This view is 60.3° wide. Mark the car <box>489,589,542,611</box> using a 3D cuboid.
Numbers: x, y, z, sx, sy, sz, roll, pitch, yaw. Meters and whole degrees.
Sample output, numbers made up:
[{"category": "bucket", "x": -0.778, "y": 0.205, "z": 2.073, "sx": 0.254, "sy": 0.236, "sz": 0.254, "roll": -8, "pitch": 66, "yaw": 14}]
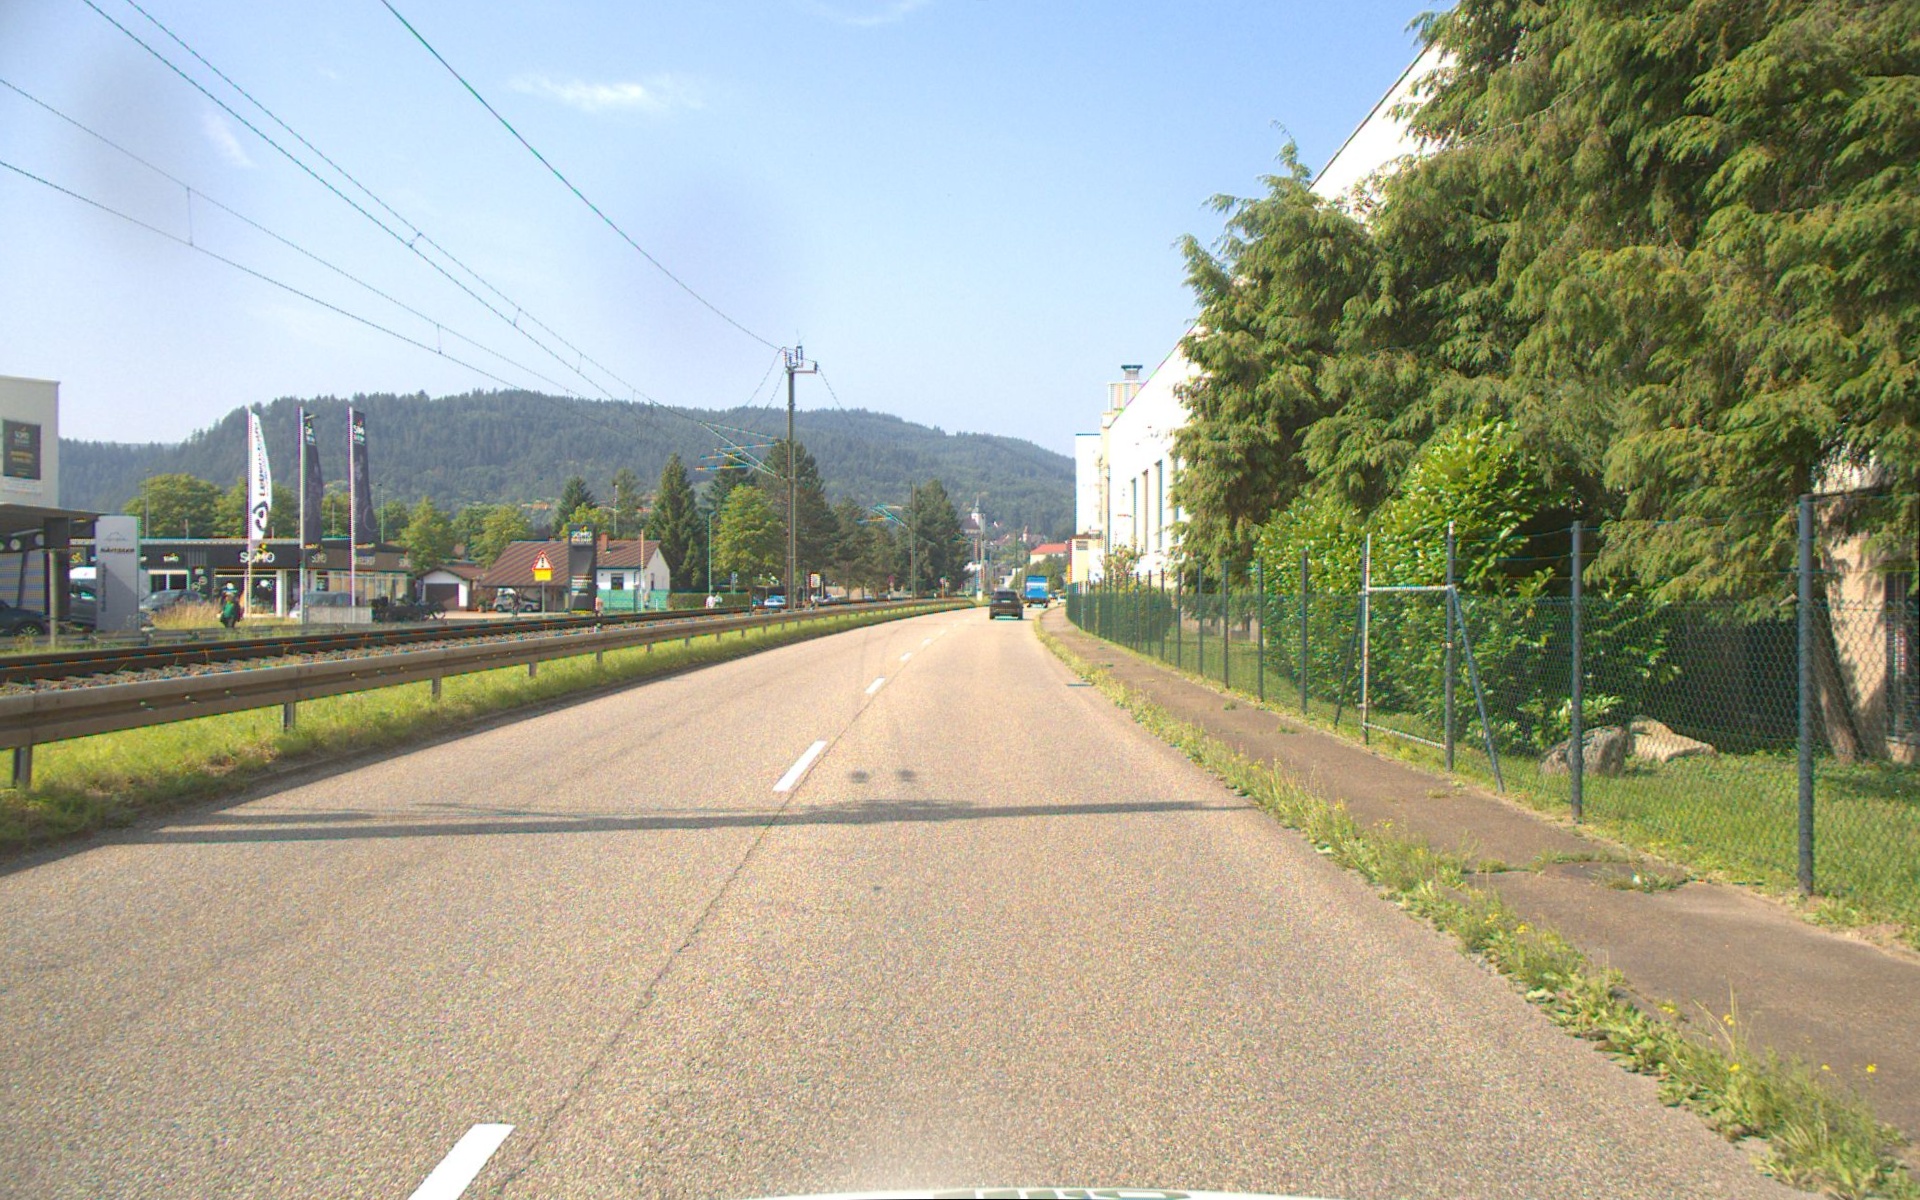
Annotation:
[{"category": "car", "x": -36.304, "y": 0.001, "z": 135.101, "sx": 3.755, "sy": 1.680, "sz": 1.713, "roll": -1, "pitch": 0, "yaw": 4}]

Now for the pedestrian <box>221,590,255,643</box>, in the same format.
[{"category": "pedestrian", "x": -24.064, "y": 0.549, "z": 55.136, "sx": 0.785, "sy": 1.764, "sz": 0.835, "roll": 0, "pitch": 0, "yaw": -1}]

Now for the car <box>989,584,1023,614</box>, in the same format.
[{"category": "car", "x": 2.601, "y": -0.051, "z": 92.977, "sx": 1.879, "sy": 1.668, "sz": 4.001, "roll": 0, "pitch": 0, "yaw": 3}]

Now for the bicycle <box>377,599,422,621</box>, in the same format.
[{"category": "bicycle", "x": -29.784, "y": 0.502, "z": 87.976, "sx": 0.715, "sy": 1.150, "sz": 2.314, "roll": -1, "pitch": 0, "yaw": 35}]

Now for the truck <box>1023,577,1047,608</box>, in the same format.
[{"category": "truck", "x": 7.593, "y": -0.741, "z": 166.324, "sx": 2.264, "sy": 3.022, "sz": 5.968, "roll": 0, "pitch": 0, "yaw": 4}]

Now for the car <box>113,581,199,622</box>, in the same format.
[{"category": "car", "x": -34.699, "y": 0.091, "z": 71.476, "sx": 1.830, "sy": 1.693, "sz": 3.998, "roll": 0, "pitch": -1, "yaw": -1}]

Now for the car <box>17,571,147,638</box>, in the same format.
[{"category": "car", "x": -37.493, "y": 0.249, "z": 70.864, "sx": 2.324, "sy": 2.679, "sz": 6.158, "roll": 0, "pitch": -2, "yaw": -1}]

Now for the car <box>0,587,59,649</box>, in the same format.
[{"category": "car", "x": -26.944, "y": 0.450, "z": 44.896, "sx": 1.634, "sy": 1.650, "sz": 4.006, "roll": 3, "pitch": 0, "yaw": 42}]

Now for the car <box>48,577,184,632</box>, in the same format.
[{"category": "car", "x": -28.970, "y": 0.162, "z": 56.815, "sx": 3.953, "sy": 1.557, "sz": 1.505, "roll": 5, "pitch": -3, "yaw": -35}]

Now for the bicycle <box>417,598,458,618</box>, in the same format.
[{"category": "bicycle", "x": -29.850, "y": 0.442, "z": 94.493, "sx": 2.127, "sy": 1.150, "sz": 0.729, "roll": 0, "pitch": 0, "yaw": -9}]

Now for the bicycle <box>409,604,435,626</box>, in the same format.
[{"category": "bicycle", "x": -29.521, "y": 0.820, "z": 90.823, "sx": 0.713, "sy": 1.150, "sz": 2.174, "roll": 0, "pitch": 0, "yaw": 0}]

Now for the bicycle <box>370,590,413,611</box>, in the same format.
[{"category": "bicycle", "x": -31.478, "y": 0.050, "z": 91.621, "sx": 2.127, "sy": 1.150, "sz": 0.729, "roll": 0, "pitch": 0, "yaw": -9}]

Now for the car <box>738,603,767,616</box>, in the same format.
[{"category": "car", "x": -24.139, "y": 1.068, "z": 191.957, "sx": 1.671, "sy": 1.469, "sz": 3.800, "roll": 0, "pitch": 0, "yaw": -38}]

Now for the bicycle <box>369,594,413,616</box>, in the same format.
[{"category": "bicycle", "x": -31.222, "y": 0.272, "z": 90.740, "sx": 2.122, "sy": 1.150, "sz": 0.730, "roll": 0, "pitch": 0, "yaw": 1}]

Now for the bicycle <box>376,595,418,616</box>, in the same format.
[{"category": "bicycle", "x": -31.521, "y": 0.305, "z": 92.594, "sx": 2.127, "sy": 1.150, "sz": 0.729, "roll": 0, "pitch": 0, "yaw": -9}]
